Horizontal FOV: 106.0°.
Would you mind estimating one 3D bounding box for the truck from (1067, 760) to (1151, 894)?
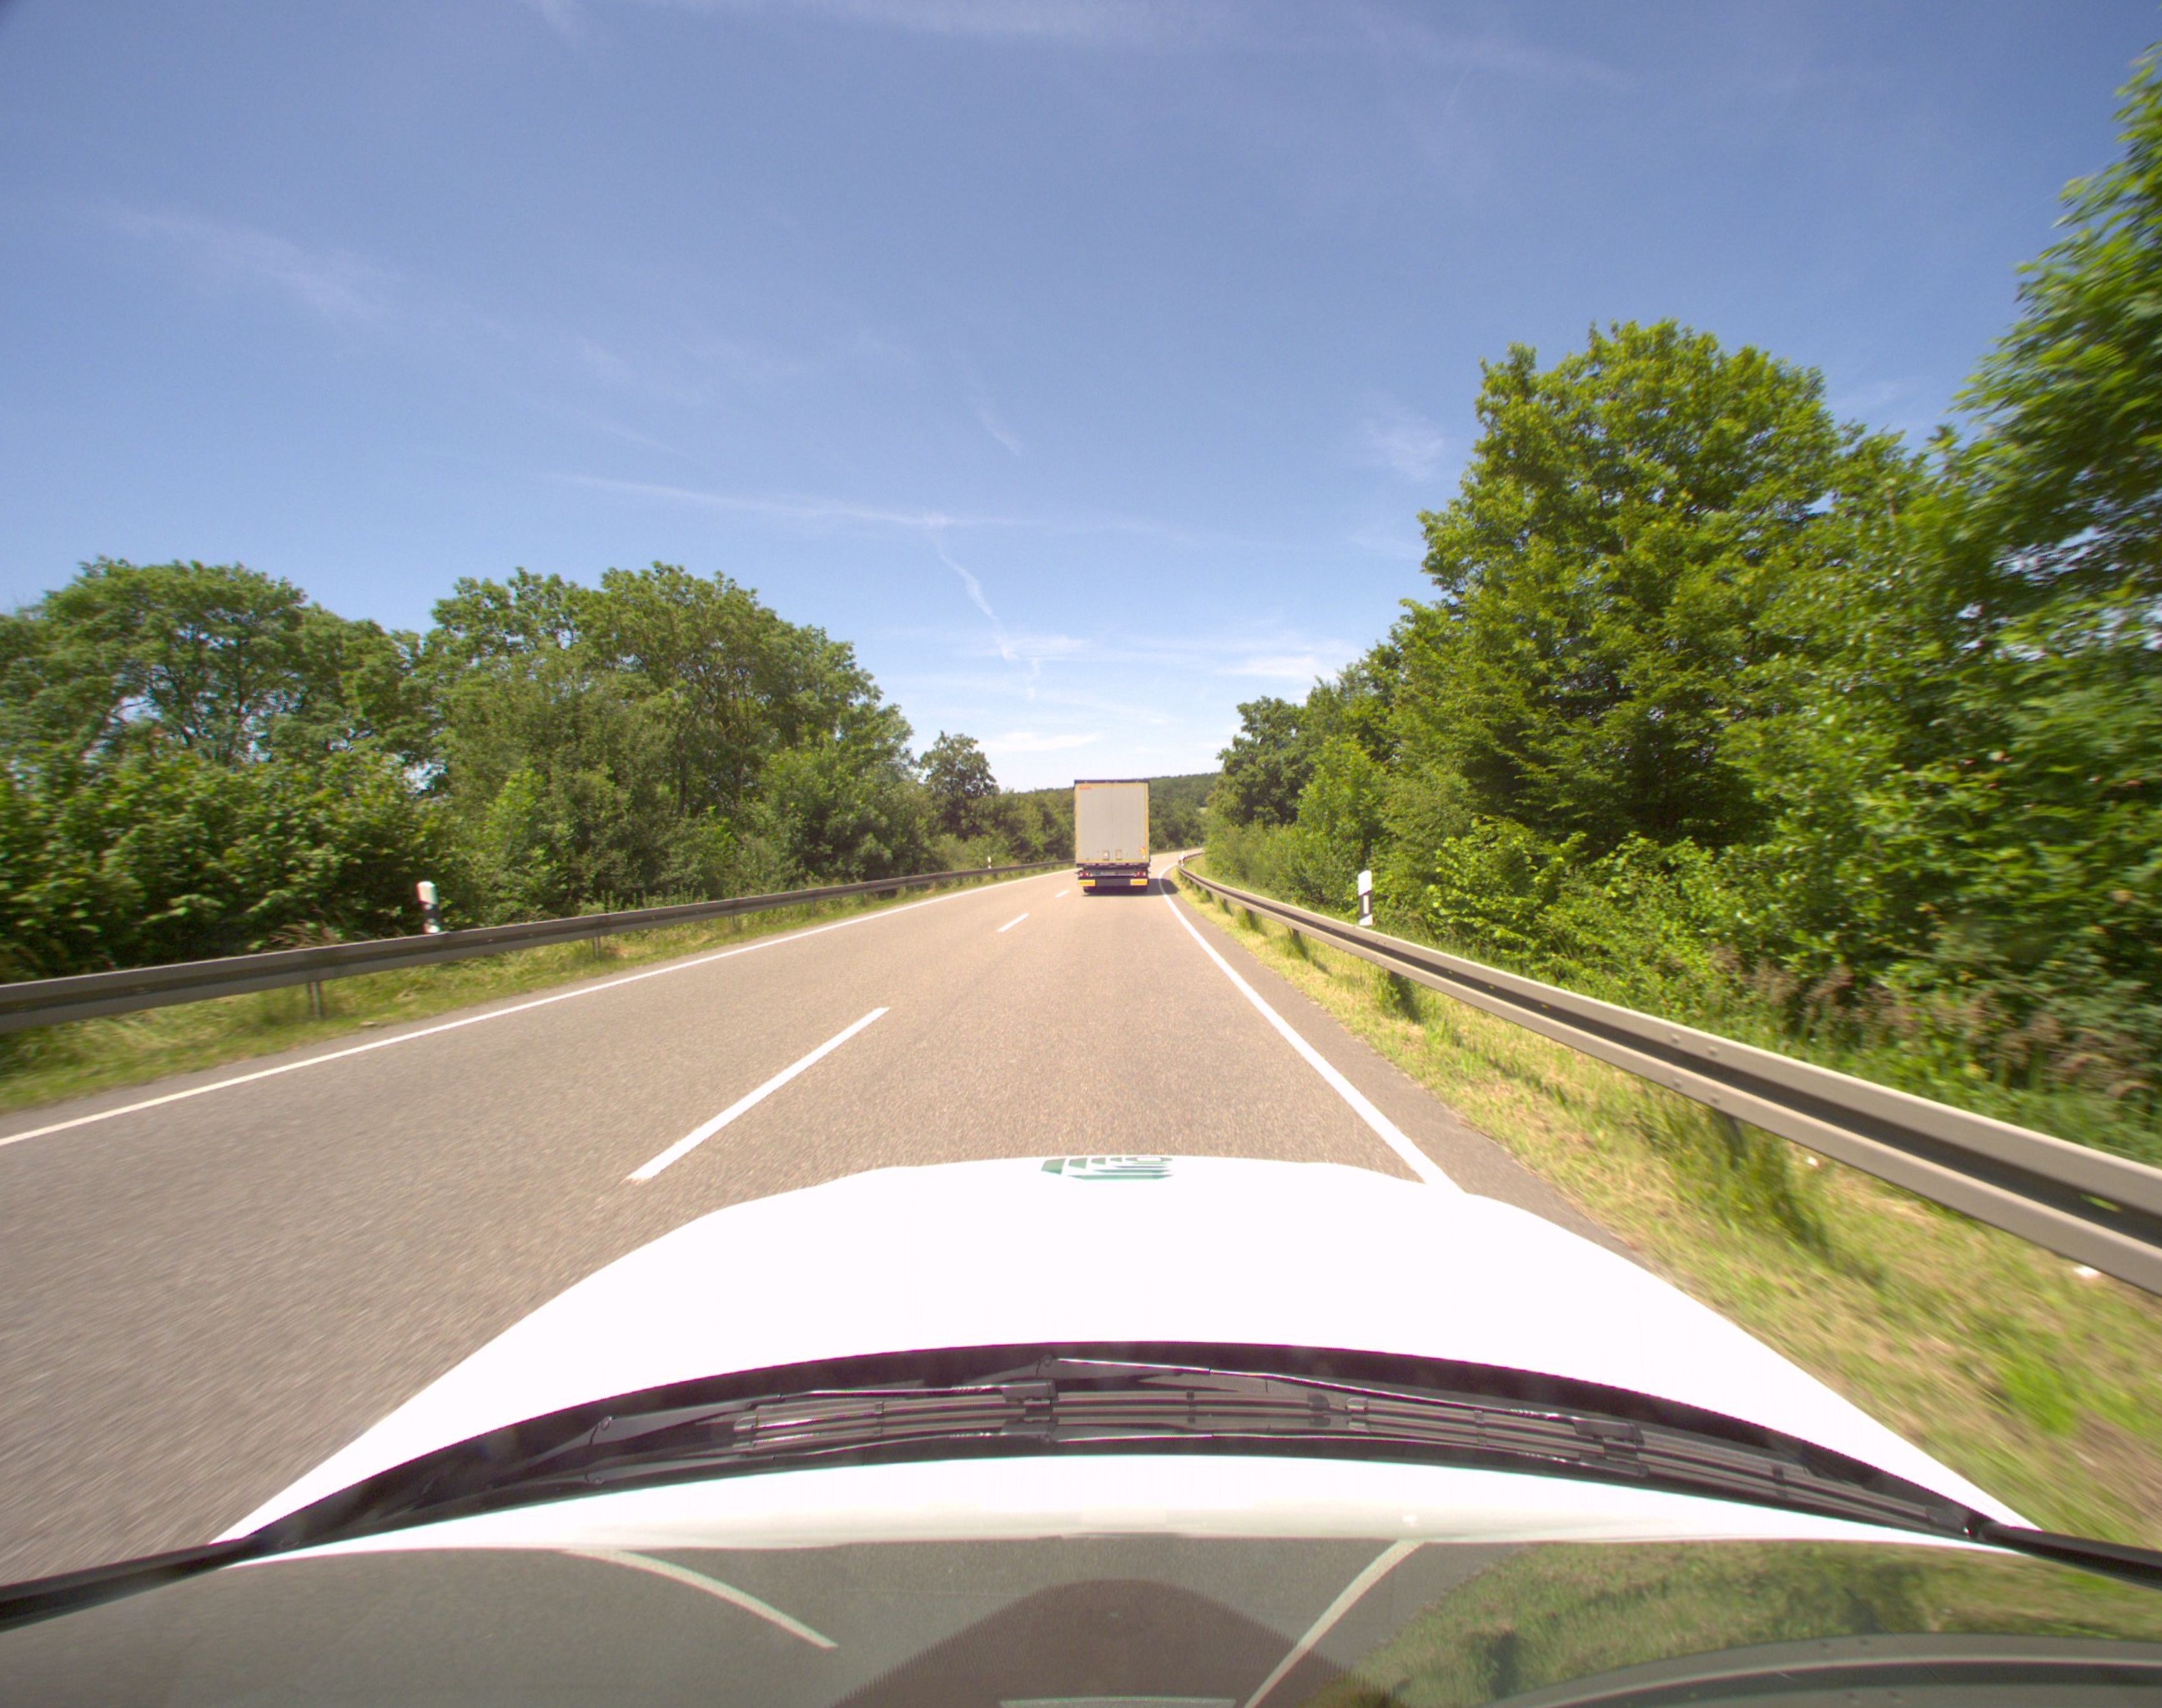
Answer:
[{"bbox_3d":[1.351,-0.884,33.424,2.805,4.532,11.779,0,0,4],"label":"truck"}]
